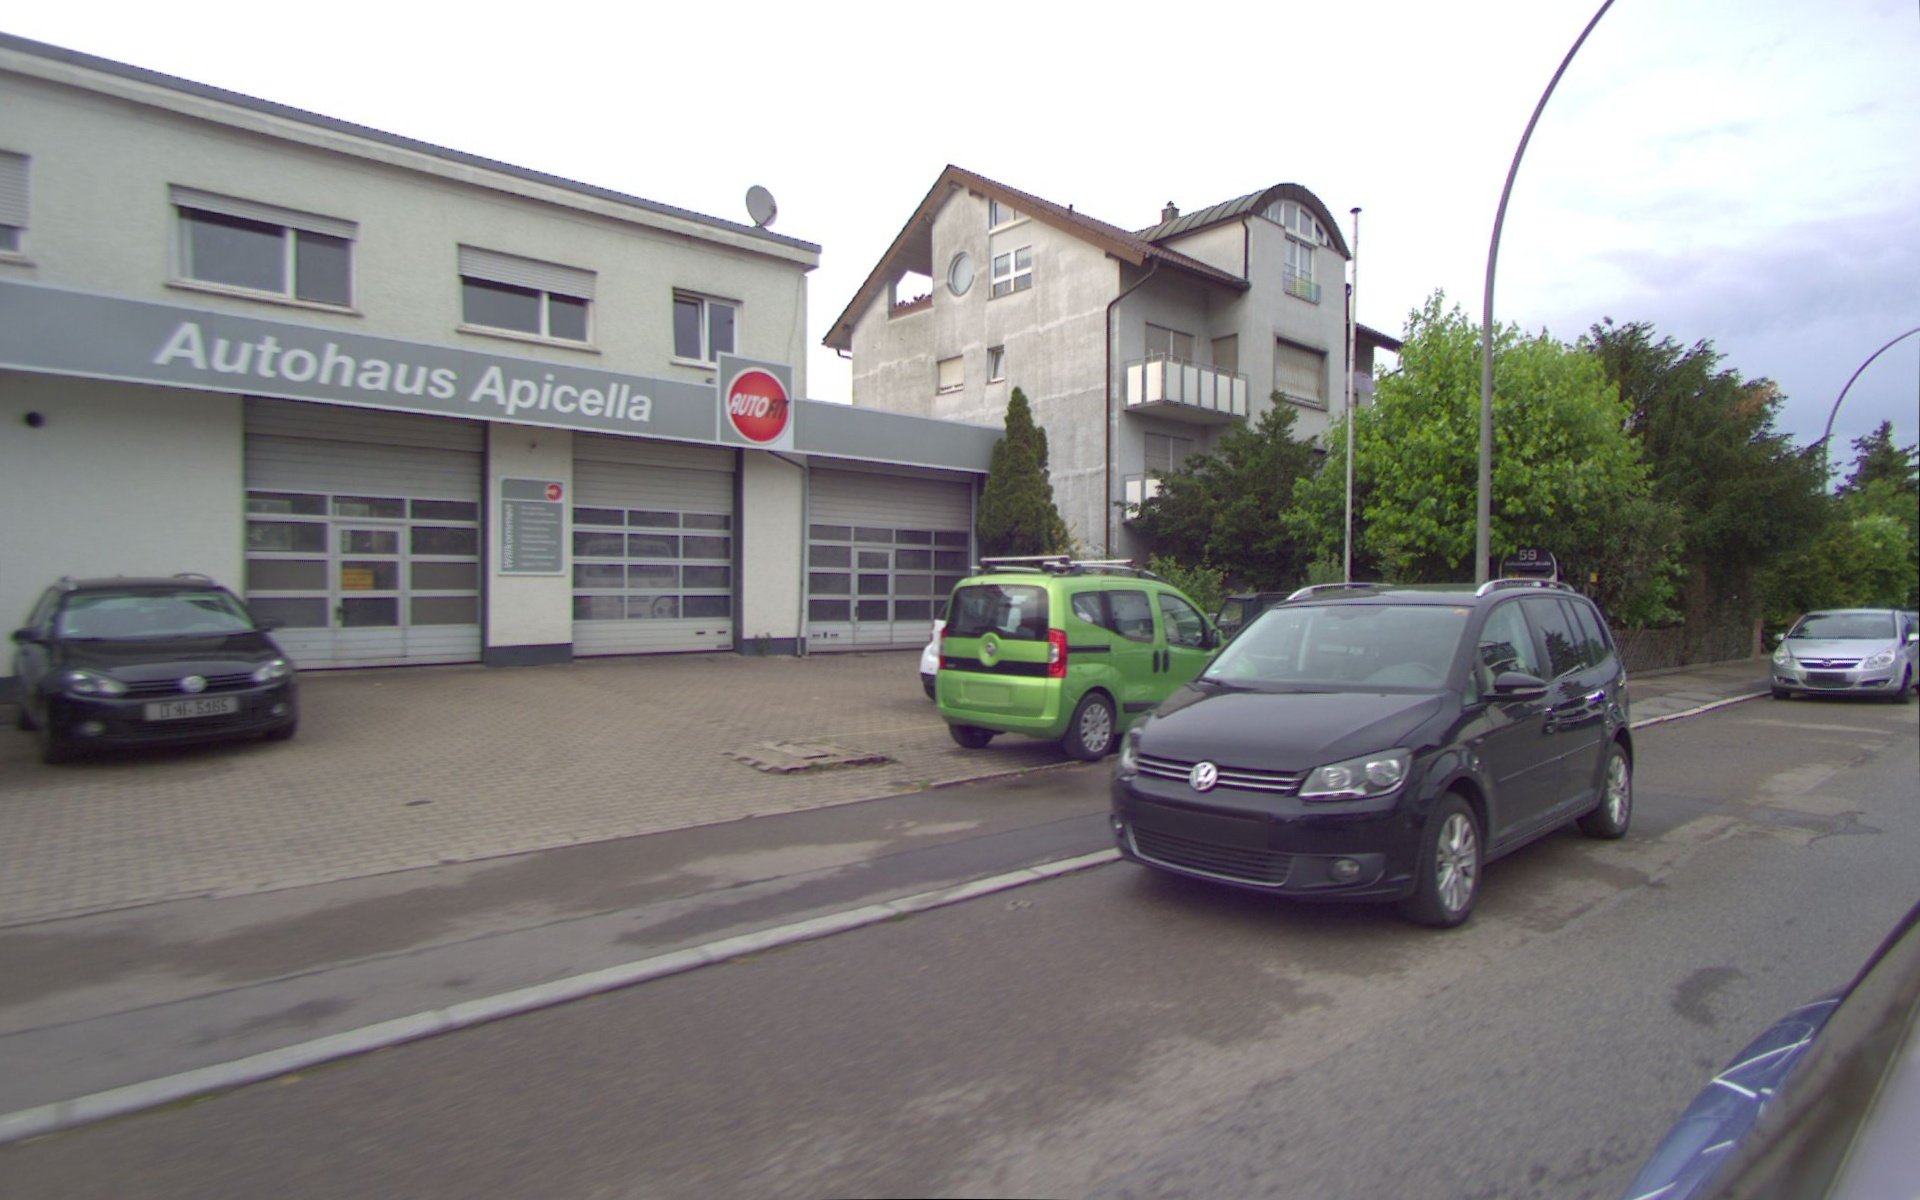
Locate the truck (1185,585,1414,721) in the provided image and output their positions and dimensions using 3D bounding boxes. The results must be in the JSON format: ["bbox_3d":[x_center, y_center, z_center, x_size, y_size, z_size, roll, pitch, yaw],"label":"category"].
[{"bbox_3d":[4.316,0.598,13.111,1.300,1.549,2.565,1,1,-32],"label":"truck"}]

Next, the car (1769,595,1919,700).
[{"bbox_3d":[14.920,0.719,16.634,3.811,1.521,1.741,1,-2,-39],"label":"car"}]

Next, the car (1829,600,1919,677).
[{"bbox_3d":[18.902,0.735,20.253,3.653,1.421,1.740,1,-2,-41],"label":"car"}]

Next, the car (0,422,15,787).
[{"bbox_3d":[-9.275,-0.006,7.285,4.760,2.552,2.225,1,0,29],"label":"car"}]

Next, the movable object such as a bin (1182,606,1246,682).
[{"bbox_3d":[3.862,0.651,15.380,0.670,1.088,0.670,0,0,-41],"label":"movable object such as a bin"}]

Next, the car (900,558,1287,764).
[{"bbox_3d":[1.512,0.494,10.470,3.935,1.704,1.995,0,0,-45],"label":"car"}]

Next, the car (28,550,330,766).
[{"bbox_3d":[-7.606,0.398,9.682,1.865,1.593,4.305,1,0,-43],"label":"car"}]

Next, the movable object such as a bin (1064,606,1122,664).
[{"bbox_3d":[2.644,0.678,20.092,0.746,1.092,0.860,0,0,-41],"label":"movable object such as a bin"}]

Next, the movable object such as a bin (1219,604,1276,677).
[{"bbox_3d":[4.521,0.622,15.906,0.670,1.088,0.575,0,0,-41],"label":"movable object such as a bin"}]

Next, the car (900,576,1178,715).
[{"bbox_3d":[1.168,0.527,13.768,3.671,1.538,1.749,0,3,-45],"label":"car"}]

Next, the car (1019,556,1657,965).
[{"bbox_3d":[2.449,0.623,6.068,3.931,1.616,1.996,1,1,-42],"label":"car"}]
